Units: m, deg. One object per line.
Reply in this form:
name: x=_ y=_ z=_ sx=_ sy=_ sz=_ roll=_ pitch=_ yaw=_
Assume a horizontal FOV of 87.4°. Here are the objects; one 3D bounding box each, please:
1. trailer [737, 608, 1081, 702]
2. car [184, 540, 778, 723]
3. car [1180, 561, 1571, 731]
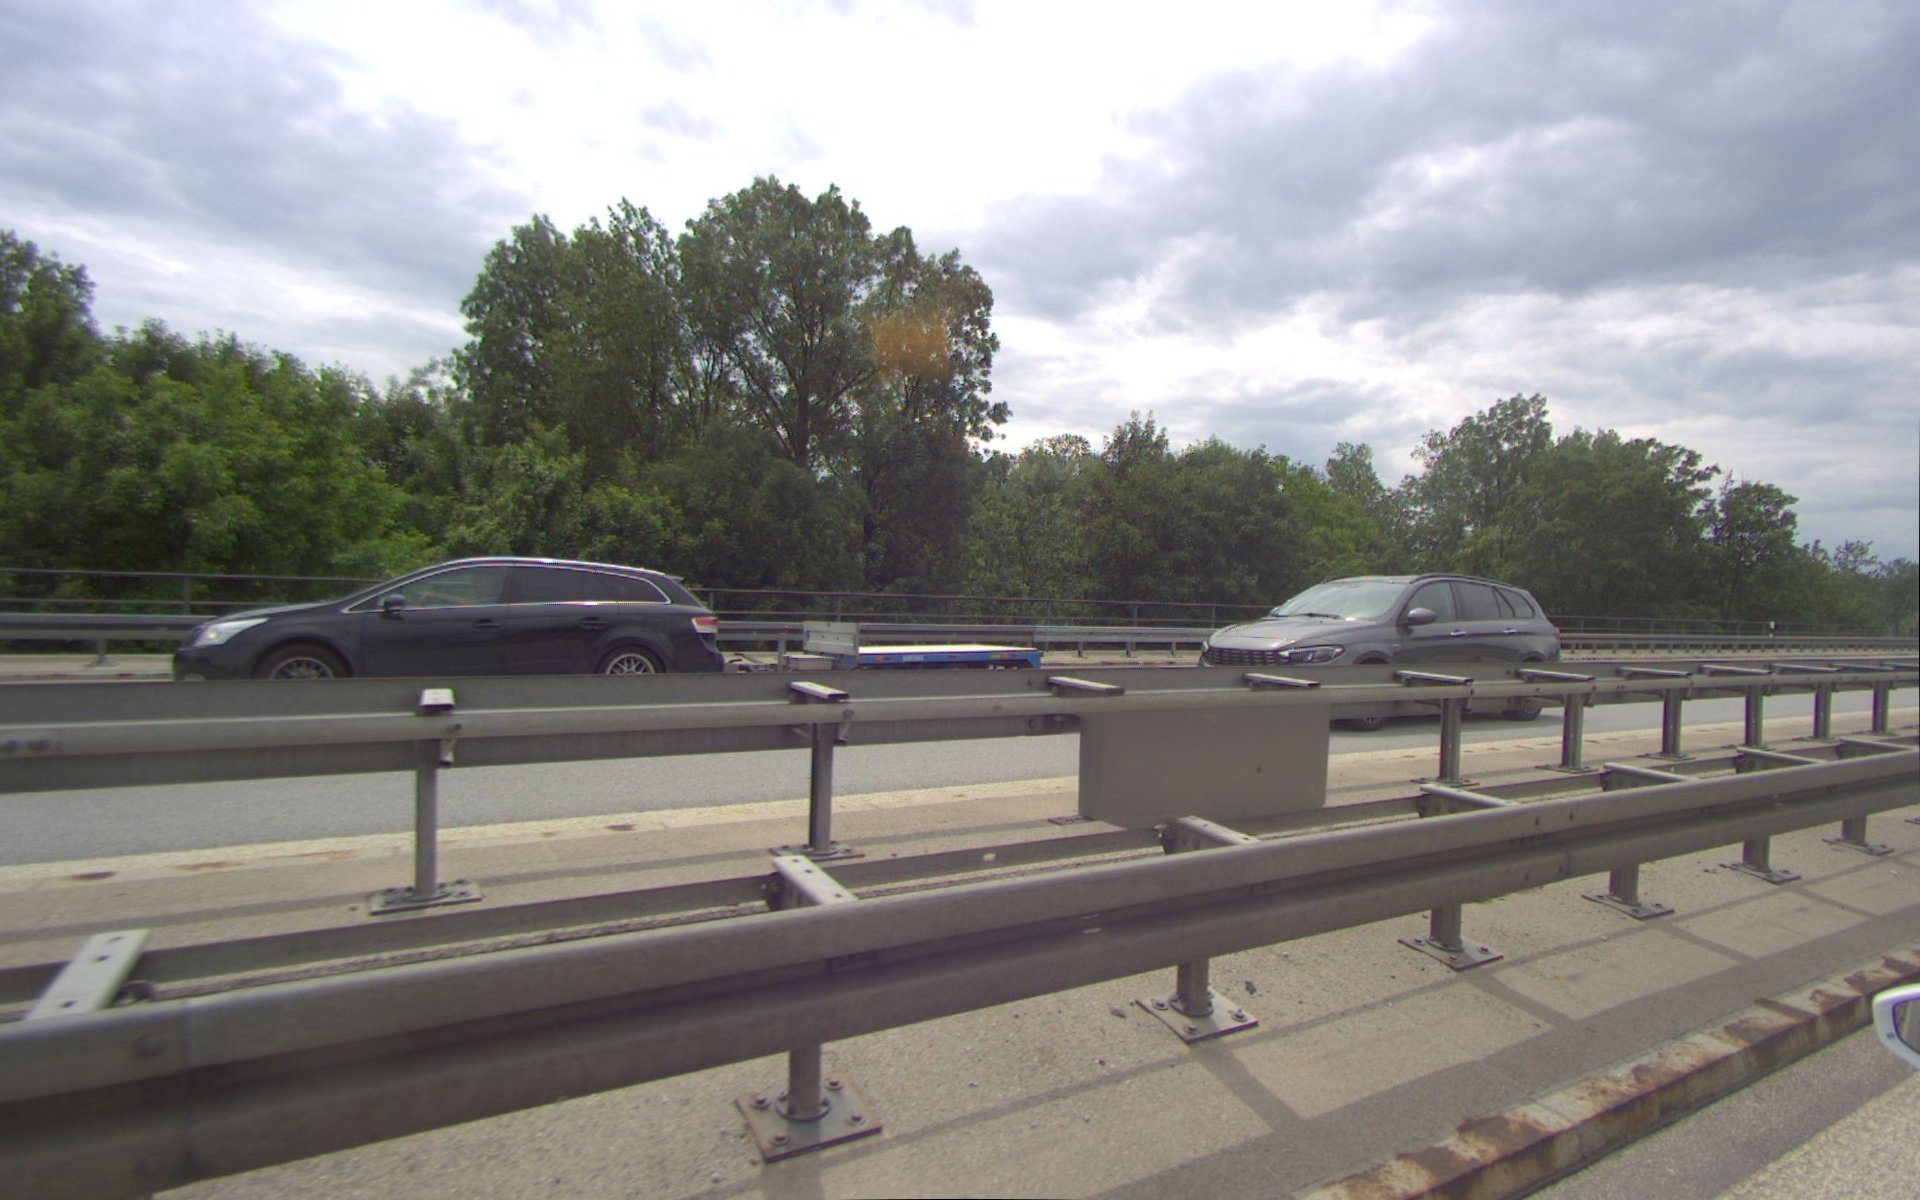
trailer: x=-0.568 y=0.633 z=12.389 sx=3.956 sy=0.964 sz=1.659 roll=1 pitch=0 yaw=-32
car: x=-4.430 y=0.283 z=9.895 sx=4.887 sy=1.429 sz=1.728 roll=1 pitch=0 yaw=-32
car: x=4.376 y=0.430 z=10.423 sx=4.064 sy=1.456 sz=1.683 roll=1 pitch=0 yaw=-32
